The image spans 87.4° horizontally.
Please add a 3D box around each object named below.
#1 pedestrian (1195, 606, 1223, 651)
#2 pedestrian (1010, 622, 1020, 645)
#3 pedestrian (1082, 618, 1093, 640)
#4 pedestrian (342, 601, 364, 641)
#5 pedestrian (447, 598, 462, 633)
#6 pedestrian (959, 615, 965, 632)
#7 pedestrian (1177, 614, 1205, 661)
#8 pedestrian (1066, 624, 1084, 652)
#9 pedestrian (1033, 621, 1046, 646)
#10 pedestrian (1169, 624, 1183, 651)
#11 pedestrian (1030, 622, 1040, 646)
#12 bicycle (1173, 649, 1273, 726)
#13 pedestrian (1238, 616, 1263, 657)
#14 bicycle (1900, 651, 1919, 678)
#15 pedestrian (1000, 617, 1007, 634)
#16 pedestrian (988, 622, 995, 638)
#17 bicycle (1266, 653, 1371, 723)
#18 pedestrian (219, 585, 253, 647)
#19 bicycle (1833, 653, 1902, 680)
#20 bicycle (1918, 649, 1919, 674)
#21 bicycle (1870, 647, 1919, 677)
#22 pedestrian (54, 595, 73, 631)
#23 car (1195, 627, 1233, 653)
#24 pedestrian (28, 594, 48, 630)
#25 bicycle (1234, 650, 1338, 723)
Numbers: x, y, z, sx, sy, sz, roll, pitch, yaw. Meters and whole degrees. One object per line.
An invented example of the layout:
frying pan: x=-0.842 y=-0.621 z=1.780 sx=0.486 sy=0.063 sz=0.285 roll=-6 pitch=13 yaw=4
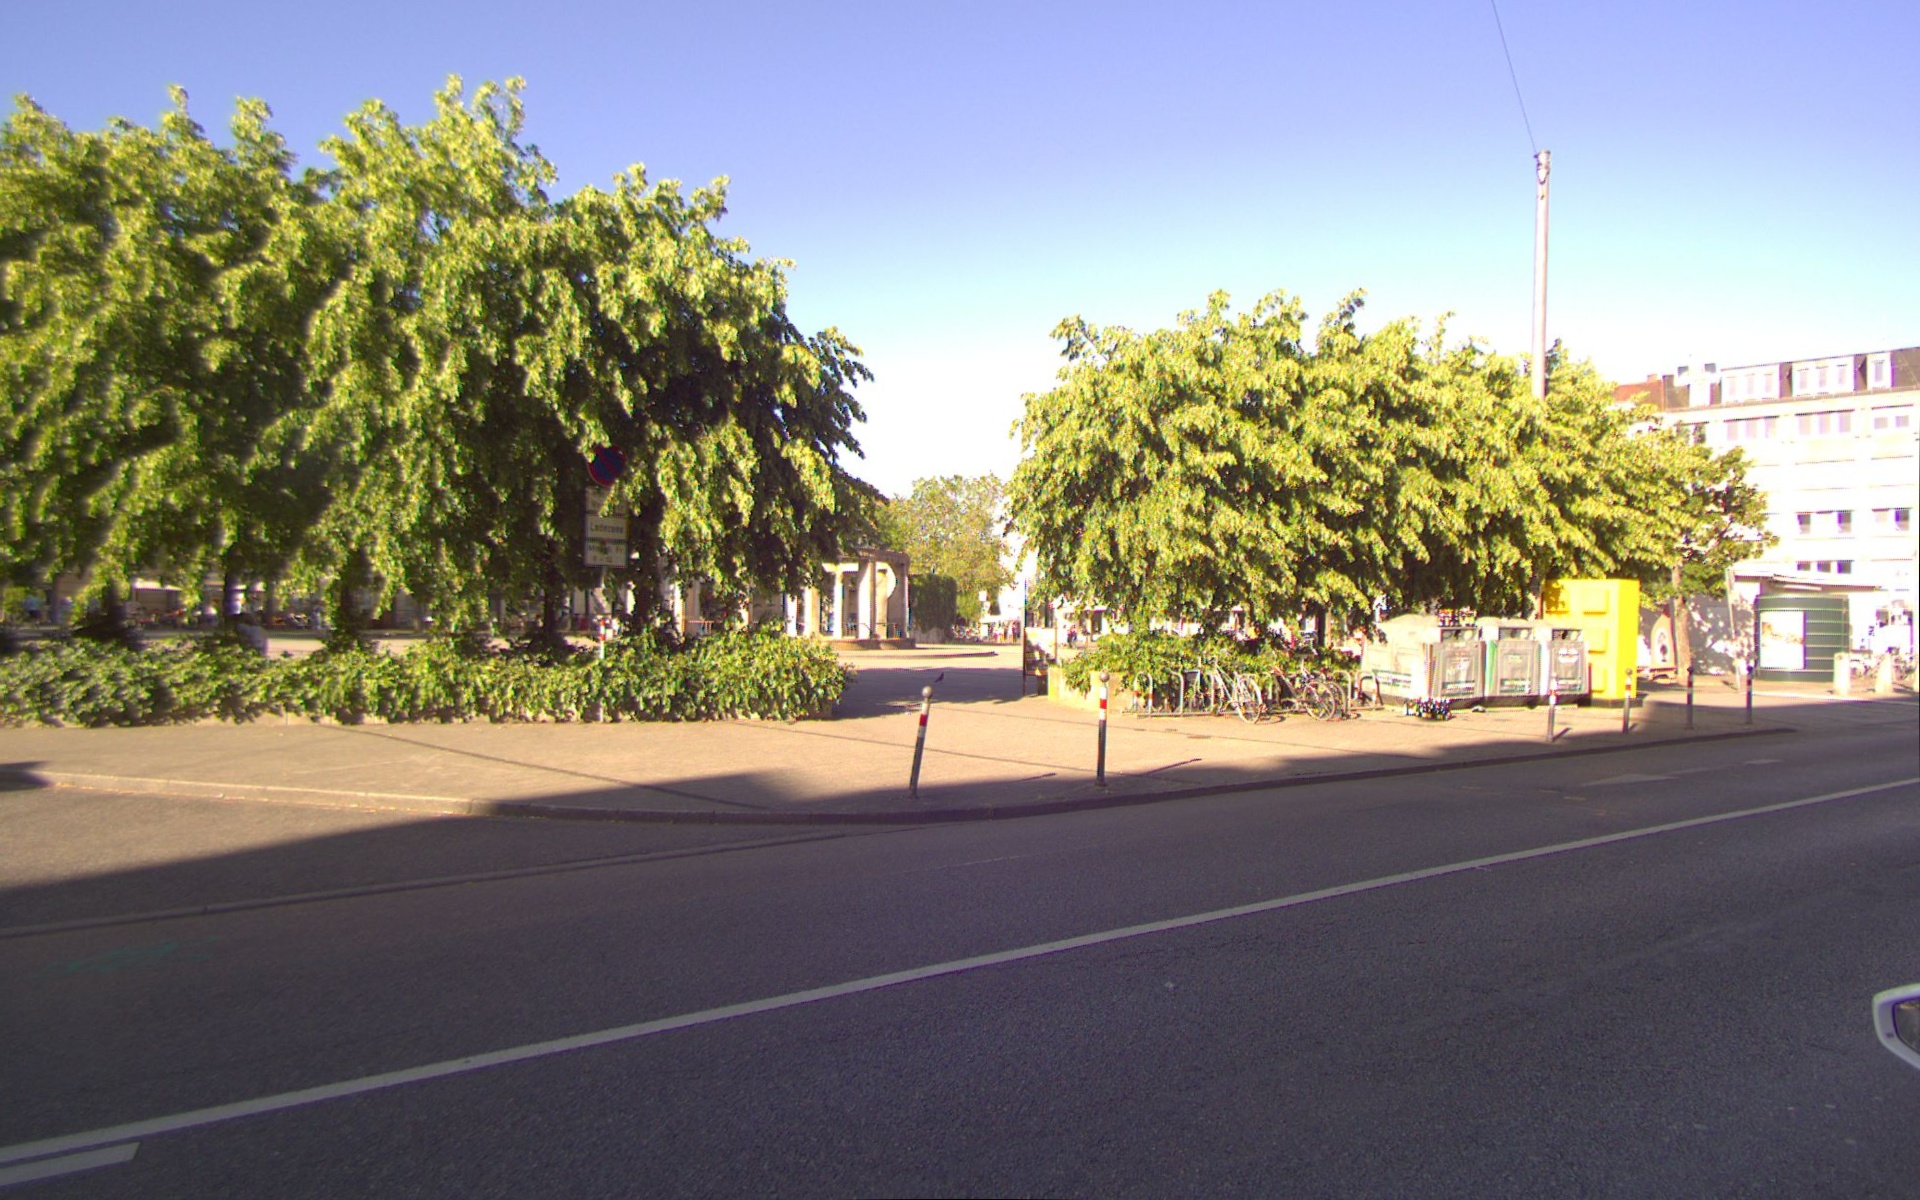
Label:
pedestrian: x=11.297 y=1.288 z=45.601 sx=0.875 sy=2.040 sz=0.896 roll=1 pitch=0 yaw=-17
pedestrian: x=4.606 y=2.830 z=84.542 sx=0.718 sy=1.862 sz=0.697 roll=2 pitch=0 yaw=-5
pedestrian: x=12.657 y=2.853 z=99.452 sx=0.860 sy=2.199 sz=0.902 roll=2 pitch=0 yaw=-5
pedestrian: x=-26.915 y=0.913 z=44.537 sx=0.599 sy=1.744 sz=0.644 roll=2 pitch=0 yaw=37
pedestrian: x=-28.344 y=0.865 z=56.289 sx=0.669 sy=1.974 sz=0.634 roll=2 pitch=0 yaw=-33
pedestrian: x=0.239 y=2.872 z=121.499 sx=0.629 sy=1.974 sz=0.675 roll=2 pitch=0 yaw=-14
pedestrian: x=10.219 y=1.644 z=44.495 sx=0.875 sy=2.040 sz=0.896 roll=1 pitch=-1 yaw=-17
pedestrian: x=8.454 y=2.777 z=73.957 sx=1.014 sy=2.040 sz=1.159 roll=2 pitch=0 yaw=-5
pedestrian: x=6.635 y=2.769 z=83.959 sx=0.860 sy=2.040 sz=0.902 roll=2 pitch=0 yaw=-5
pedestrian: x=14.207 y=2.438 z=66.058 sx=0.741 sy=1.740 sz=0.854 roll=1 pitch=-1 yaw=4
pedestrian: x=6.420 y=2.920 z=86.153 sx=0.628 sy=1.974 sz=0.676 roll=2 pitch=0 yaw=-7
bicycle: x=4.057 y=1.332 z=15.646 sx=0.508 sy=1.029 sz=1.930 roll=2 pitch=0 yaw=-19
pedestrian: x=12.490 y=1.554 z=43.178 sx=0.774 sy=1.720 sz=0.763 roll=1 pitch=0 yaw=-6
bicycle: x=35.105 y=2.340 z=36.089 sx=0.599 sy=0.946 sz=1.854 roll=2 pitch=0 yaw=-30
pedestrian: x=5.191 y=3.013 z=119.952 sx=0.629 sy=1.974 sz=0.675 roll=2 pitch=0 yaw=-13
pedestrian: x=3.909 y=3.711 z=125.223 sx=0.629 sy=1.974 sz=0.675 roll=2 pitch=0 yaw=-13
bicycle: x=5.813 y=1.408 z=16.408 sx=0.508 sy=0.968 sz=1.898 roll=2 pitch=0 yaw=-20
pedestrian: x=-20.612 y=0.457 z=28.606 sx=0.599 sy=1.744 sz=0.644 roll=2 pitch=0 yaw=41
bicycle: x=30.809 y=2.252 z=34.117 sx=0.600 sy=0.802 sz=1.634 roll=2 pitch=0 yaw=-33
bicycle: x=37.111 y=2.362 z=37.512 sx=0.599 sy=0.946 sz=1.854 roll=2 pitch=0 yaw=-30
bicycle: x=33.158 y=2.174 z=35.136 sx=0.599 sy=0.946 sz=1.855 roll=1 pitch=0 yaw=-30
pedestrian: x=-44.031 y=0.662 z=49.352 sx=0.600 sy=1.744 sz=0.643 roll=2 pitch=0 yaw=45
car: x=15.125 y=2.354 z=59.940 sx=1.658 sy=1.405 sz=3.575 roll=1 pitch=-1 yaw=5
pedestrian: x=-45.326 y=0.603 z=49.378 sx=0.600 sy=1.744 sz=0.643 roll=2 pitch=0 yaw=45
bicycle: x=5.245 y=1.369 z=16.276 sx=0.508 sy=1.016 sz=1.923 roll=2 pitch=0 yaw=-20
